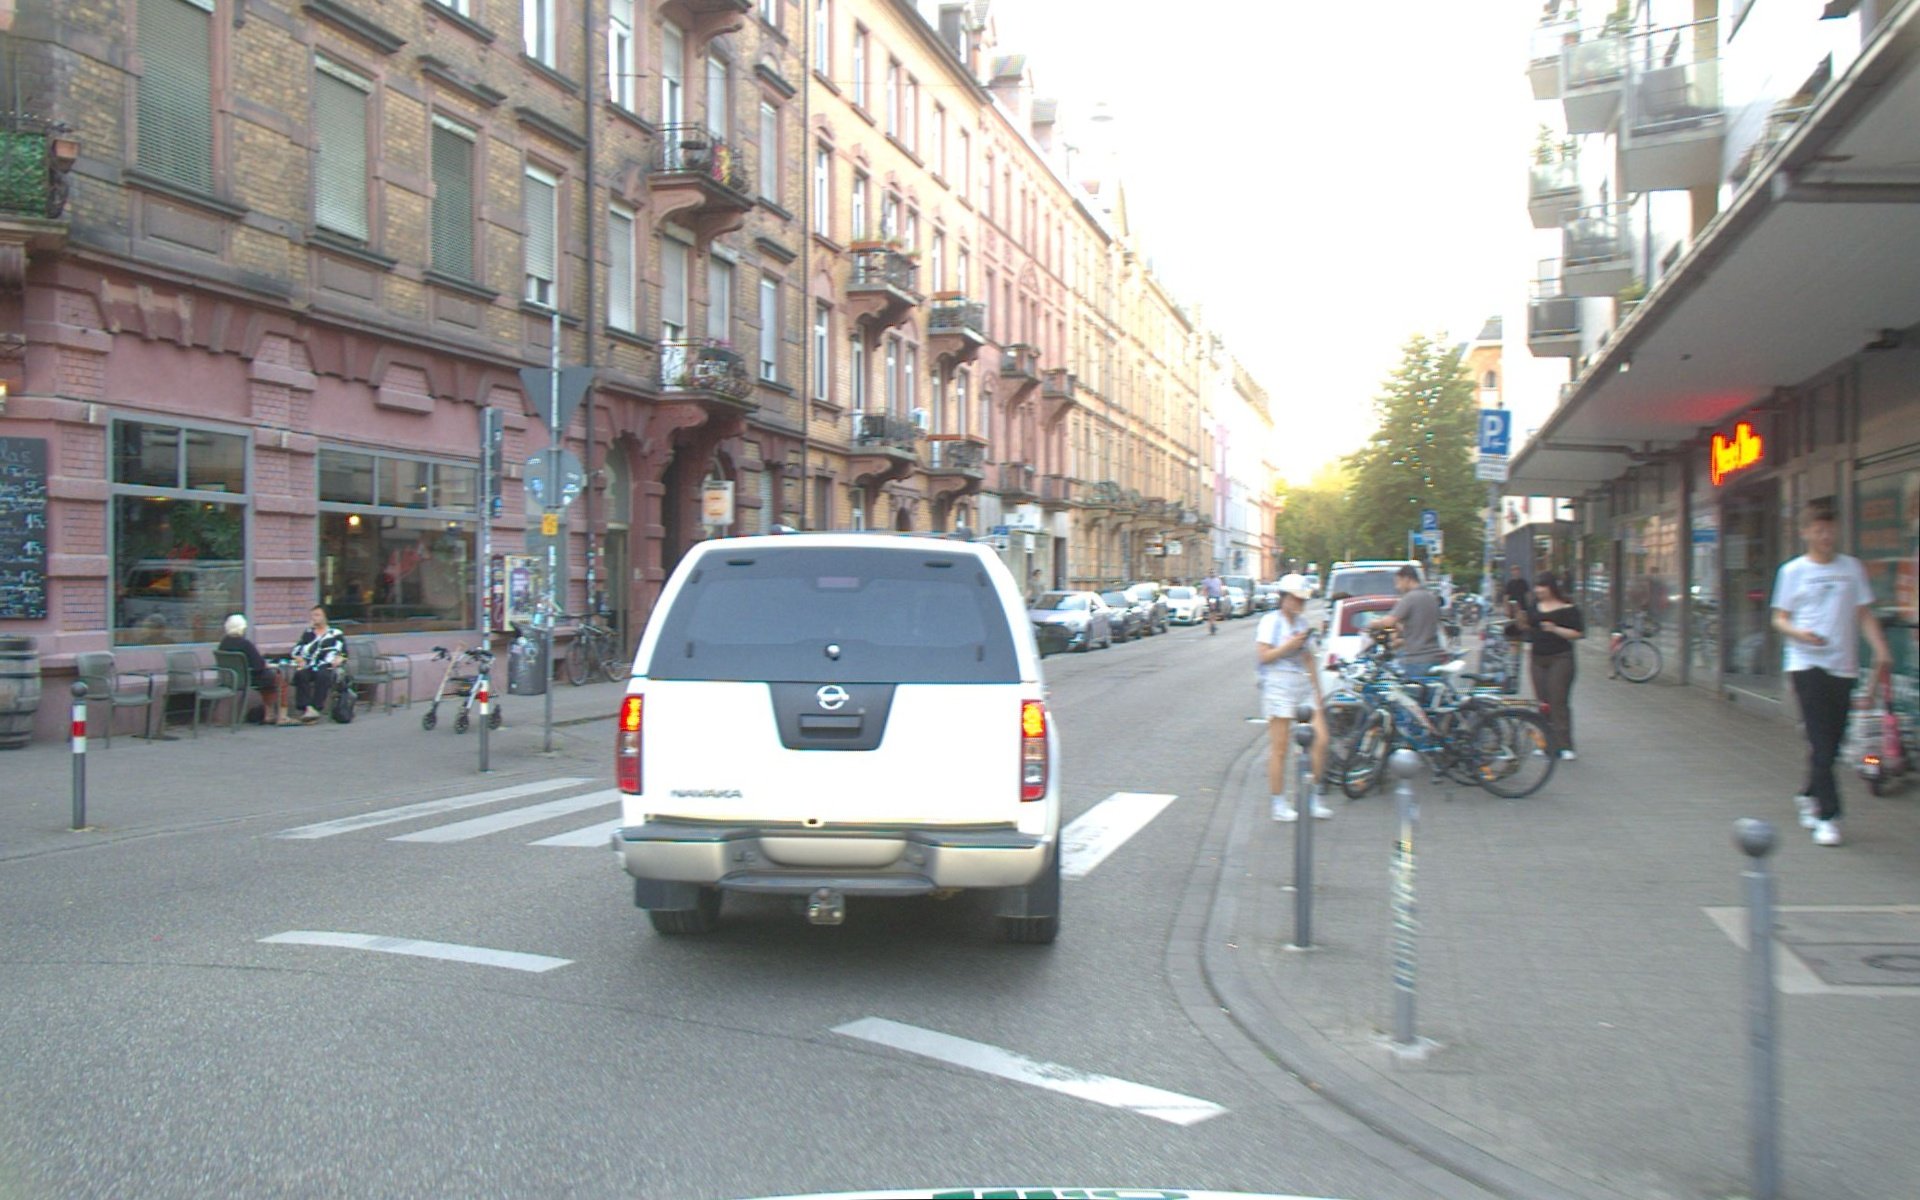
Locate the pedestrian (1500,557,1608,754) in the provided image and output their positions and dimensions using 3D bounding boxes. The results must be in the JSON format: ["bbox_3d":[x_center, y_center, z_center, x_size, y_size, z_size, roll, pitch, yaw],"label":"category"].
[{"bbox_3d":[5.309,0.477,14.772,0.708,1.692,0.700,2,0,36],"label":"pedestrian"}]

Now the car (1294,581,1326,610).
[{"bbox_3d":[22.211,-0.294,104.828,1.796,1.780,4.003,1,1,14],"label":"car"}]

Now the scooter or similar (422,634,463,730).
[{"bbox_3d":[-5.540,0.866,17.734,0.229,0.945,1.263,1,0,-9],"label":"scooter or similar"}]

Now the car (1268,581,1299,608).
[{"bbox_3d":[21.856,-0.370,111.626,1.796,1.780,4.003,1,1,14],"label":"car"}]

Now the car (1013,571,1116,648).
[{"bbox_3d":[2.663,0.219,41.402,1.796,1.780,4.166,1,1,14],"label":"car"}]

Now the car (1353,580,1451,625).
[{"bbox_3d":[18.728,0.110,70.144,3.902,1.780,1.842,2,0,14],"label":"car"}]

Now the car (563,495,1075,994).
[{"bbox_3d":[-0.421,0.540,8.639,1.897,1.842,5.002,0,0,2],"label":"car"}]

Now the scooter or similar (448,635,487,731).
[{"bbox_3d":[-5.286,0.872,17.783,0.229,0.945,1.263,1,0,-9],"label":"scooter or similar"}]

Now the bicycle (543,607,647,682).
[{"bbox_3d":[-5.483,0.648,25.012,0.379,1.054,2.484,1,1,16],"label":"bicycle"}]

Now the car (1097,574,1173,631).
[{"bbox_3d":[5.615,0.069,52.667,1.796,1.707,4.040,1,1,14],"label":"car"}]

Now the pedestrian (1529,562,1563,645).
[{"bbox_3d":[13.166,0.083,37.158,0.623,1.842,0.484,1,0,28],"label":"pedestrian"}]

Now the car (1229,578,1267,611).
[{"bbox_3d":[16.234,-0.320,93.060,1.796,1.780,4.003,1,1,14],"label":"car"}]

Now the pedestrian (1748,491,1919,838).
[{"bbox_3d":[5.101,0.354,9.701,0.704,1.940,0.703,1,0,15],"label":"pedestrian"}]

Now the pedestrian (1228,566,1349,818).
[{"bbox_3d":[2.263,0.598,11.346,0.781,1.649,0.945,0,0,13],"label":"pedestrian"}]

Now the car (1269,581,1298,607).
[{"bbox_3d":[23.029,-0.403,117.730,1.796,1.780,4.003,1,1,14],"label":"car"}]

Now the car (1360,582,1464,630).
[{"bbox_3d":[17.950,0.207,65.806,3.902,1.780,1.842,2,0,14],"label":"car"}]

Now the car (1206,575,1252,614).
[{"bbox_3d":[12.899,-0.262,79.173,1.796,1.780,4.003,1,1,14],"label":"car"}]

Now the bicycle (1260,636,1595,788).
[{"bbox_3d":[3.578,0.864,12.841,2.408,1.056,0.617,-3,0,10],"label":"bicycle"}]

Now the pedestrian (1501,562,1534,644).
[{"bbox_3d":[12.698,0.065,37.678,0.613,1.842,0.790,1,0,16],"label":"pedestrian"}]

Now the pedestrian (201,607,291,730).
[{"bbox_3d":[-7.330,0.692,16.999,0.634,1.211,0.540,1,0,11],"label":"pedestrian"}]

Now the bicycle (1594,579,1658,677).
[{"bbox_3d":[10.168,0.405,25.300,0.544,1.432,2.097,1,0,13],"label":"bicycle"}]

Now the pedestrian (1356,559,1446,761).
[{"bbox_3d":[3.844,0.503,14.414,0.704,1.692,0.703,1,0,15],"label":"pedestrian"}]

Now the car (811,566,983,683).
[{"bbox_3d":[-0.967,0.372,27.812,1.796,1.780,4.003,1,1,14],"label":"car"}]

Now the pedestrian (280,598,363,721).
[{"bbox_3d":[-6.994,0.640,18.138,0.634,1.308,0.540,1,0,11],"label":"pedestrian"}]

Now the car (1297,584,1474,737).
[{"bbox_3d":[5.031,0.628,19.612,1.796,1.568,4.003,1,1,14],"label":"car"}]

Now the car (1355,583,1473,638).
[{"bbox_3d":[15.947,0.362,58.245,3.902,1.780,1.842,2,0,14],"label":"car"}]

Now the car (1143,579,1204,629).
[{"bbox_3d":[8.097,0.120,62.538,1.796,1.780,4.003,1,1,14],"label":"car"}]

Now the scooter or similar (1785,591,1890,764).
[{"bbox_3d":[7.153,0.594,13.529,0.430,1.313,1.668,1,0,17],"label":"scooter or similar"}]

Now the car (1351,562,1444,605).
[{"bbox_3d":[19.296,-0.732,73.022,3.902,1.780,1.842,2,0,14],"label":"car"}]

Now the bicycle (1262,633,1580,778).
[{"bbox_3d":[3.714,0.860,13.498,2.408,1.056,0.617,-3,0,10],"label":"bicycle"}]

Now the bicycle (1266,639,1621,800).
[{"bbox_3d":[3.499,0.877,12.156,2.408,1.056,0.617,-3,0,11],"label":"bicycle"}]

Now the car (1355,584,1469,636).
[{"bbox_3d":[16.472,0.353,60.423,3.902,1.780,1.842,2,0,14],"label":"car"}]

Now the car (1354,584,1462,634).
[{"bbox_3d":[17.040,0.340,63.028,3.902,1.780,1.842,2,0,14],"label":"car"}]

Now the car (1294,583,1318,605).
[{"bbox_3d":[29.192,-0.470,139.432,1.796,1.780,4.003,1,1,14],"label":"car"}]

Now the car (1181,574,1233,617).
[{"bbox_3d":[10.723,-0.207,71.664,1.796,1.780,4.003,1,1,14],"label":"car"}]

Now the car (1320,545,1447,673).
[{"bbox_3d":[7.189,0.129,28.131,1.901,1.967,4.003,1,1,14],"label":"car"}]

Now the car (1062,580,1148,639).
[{"bbox_3d":[4.230,0.251,47.810,1.796,1.573,4.040,1,1,14],"label":"car"}]
